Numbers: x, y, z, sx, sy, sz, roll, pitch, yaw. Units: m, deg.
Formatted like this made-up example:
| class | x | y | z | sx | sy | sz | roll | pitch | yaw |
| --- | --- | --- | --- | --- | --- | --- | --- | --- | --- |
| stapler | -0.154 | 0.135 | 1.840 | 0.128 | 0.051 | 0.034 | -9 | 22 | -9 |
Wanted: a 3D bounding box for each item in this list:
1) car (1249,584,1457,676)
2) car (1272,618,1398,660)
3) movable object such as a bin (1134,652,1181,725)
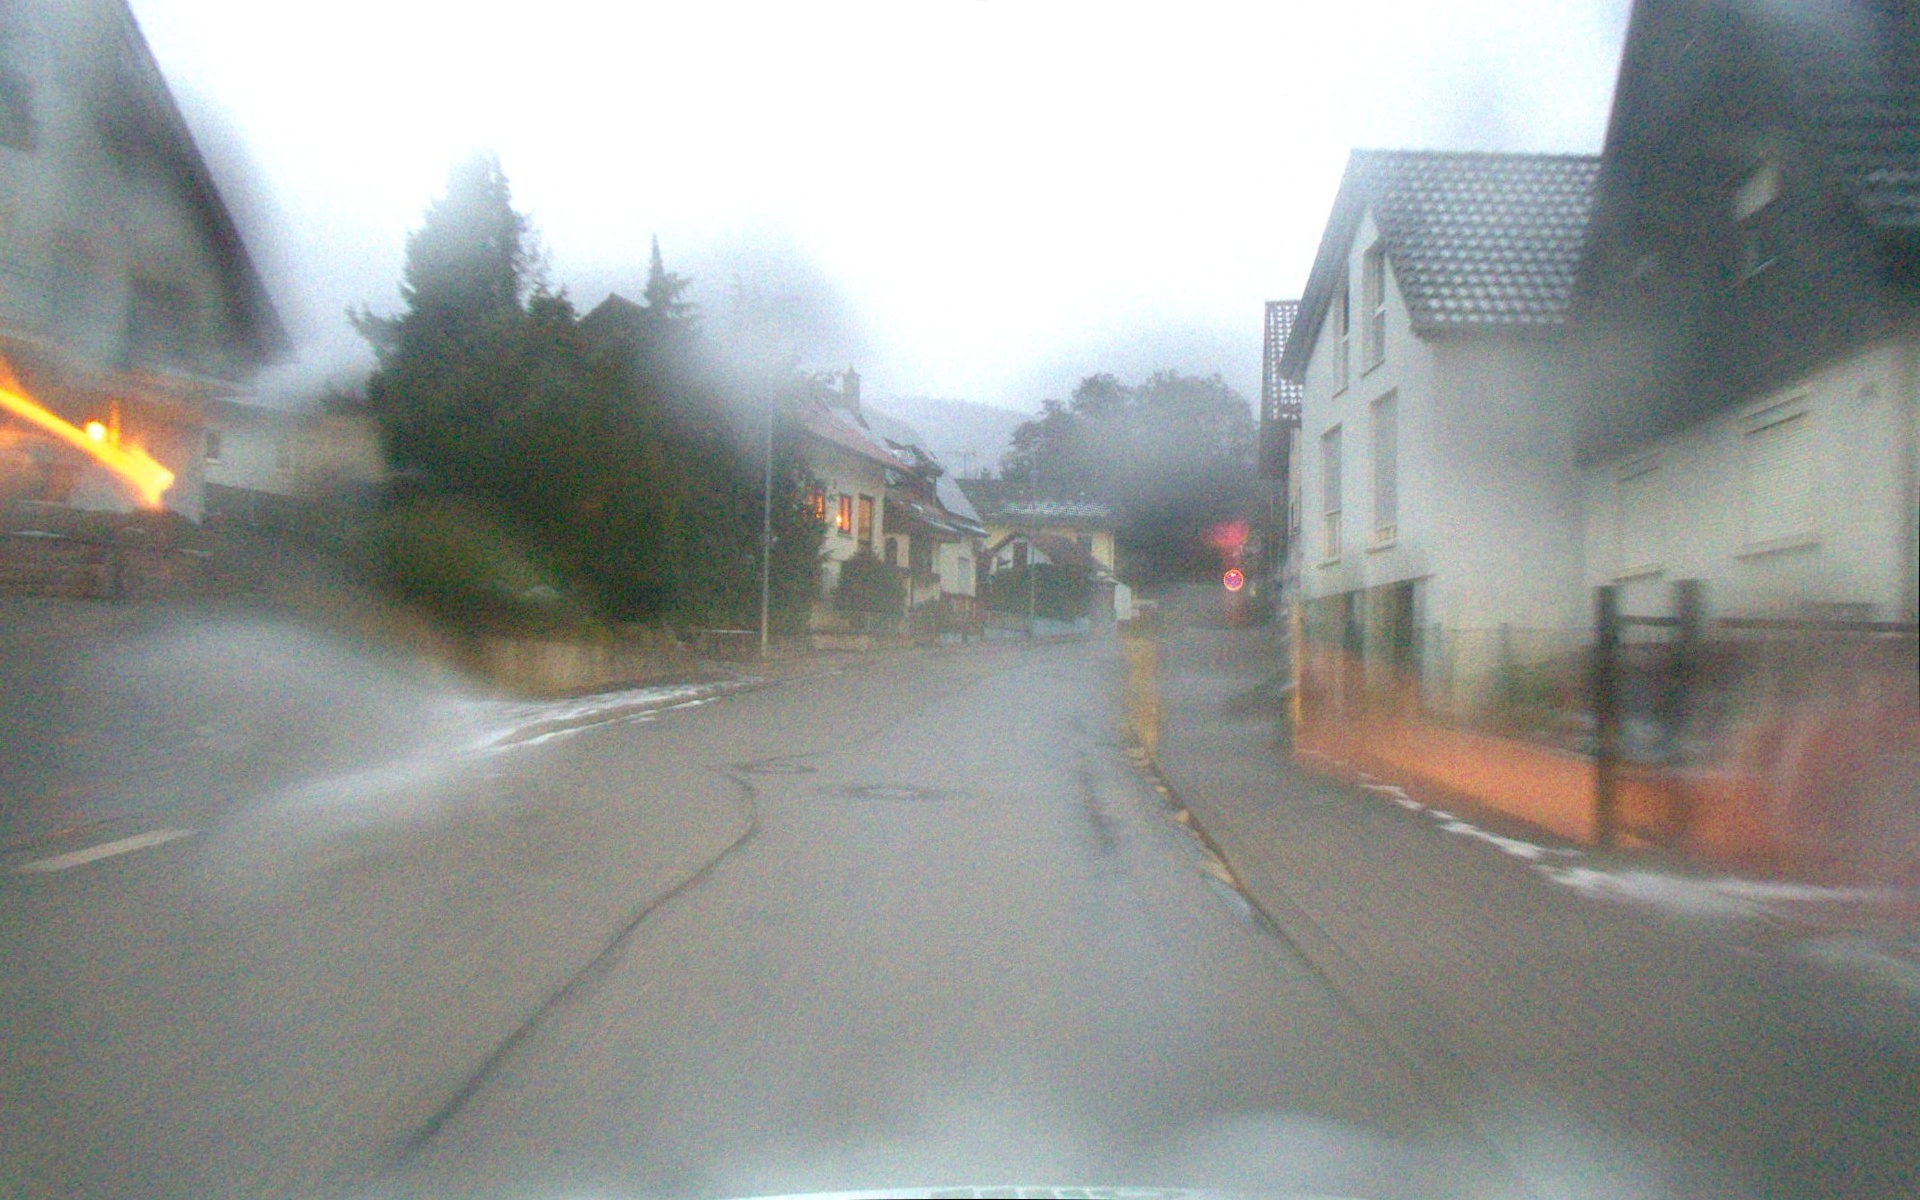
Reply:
| class | x | y | z | sx | sy | sz | roll | pitch | yaw |
| --- | --- | --- | --- | --- | --- | --- | --- | --- | --- |
| car | 8.710 | 0.668 | 36.966 | 4.192 | 1.481 | 1.780 | -7 | -2 | 6 |
| car | 13.790 | 1.441 | 60.777 | 4.409 | 1.469 | 2.001 | -1 | 0 | 15 |
| movable object such as a bin | 2.724 | 1.214 | 22.853 | 0.601 | 0.963 | 0.595 | -3 | -2 | 6 |
